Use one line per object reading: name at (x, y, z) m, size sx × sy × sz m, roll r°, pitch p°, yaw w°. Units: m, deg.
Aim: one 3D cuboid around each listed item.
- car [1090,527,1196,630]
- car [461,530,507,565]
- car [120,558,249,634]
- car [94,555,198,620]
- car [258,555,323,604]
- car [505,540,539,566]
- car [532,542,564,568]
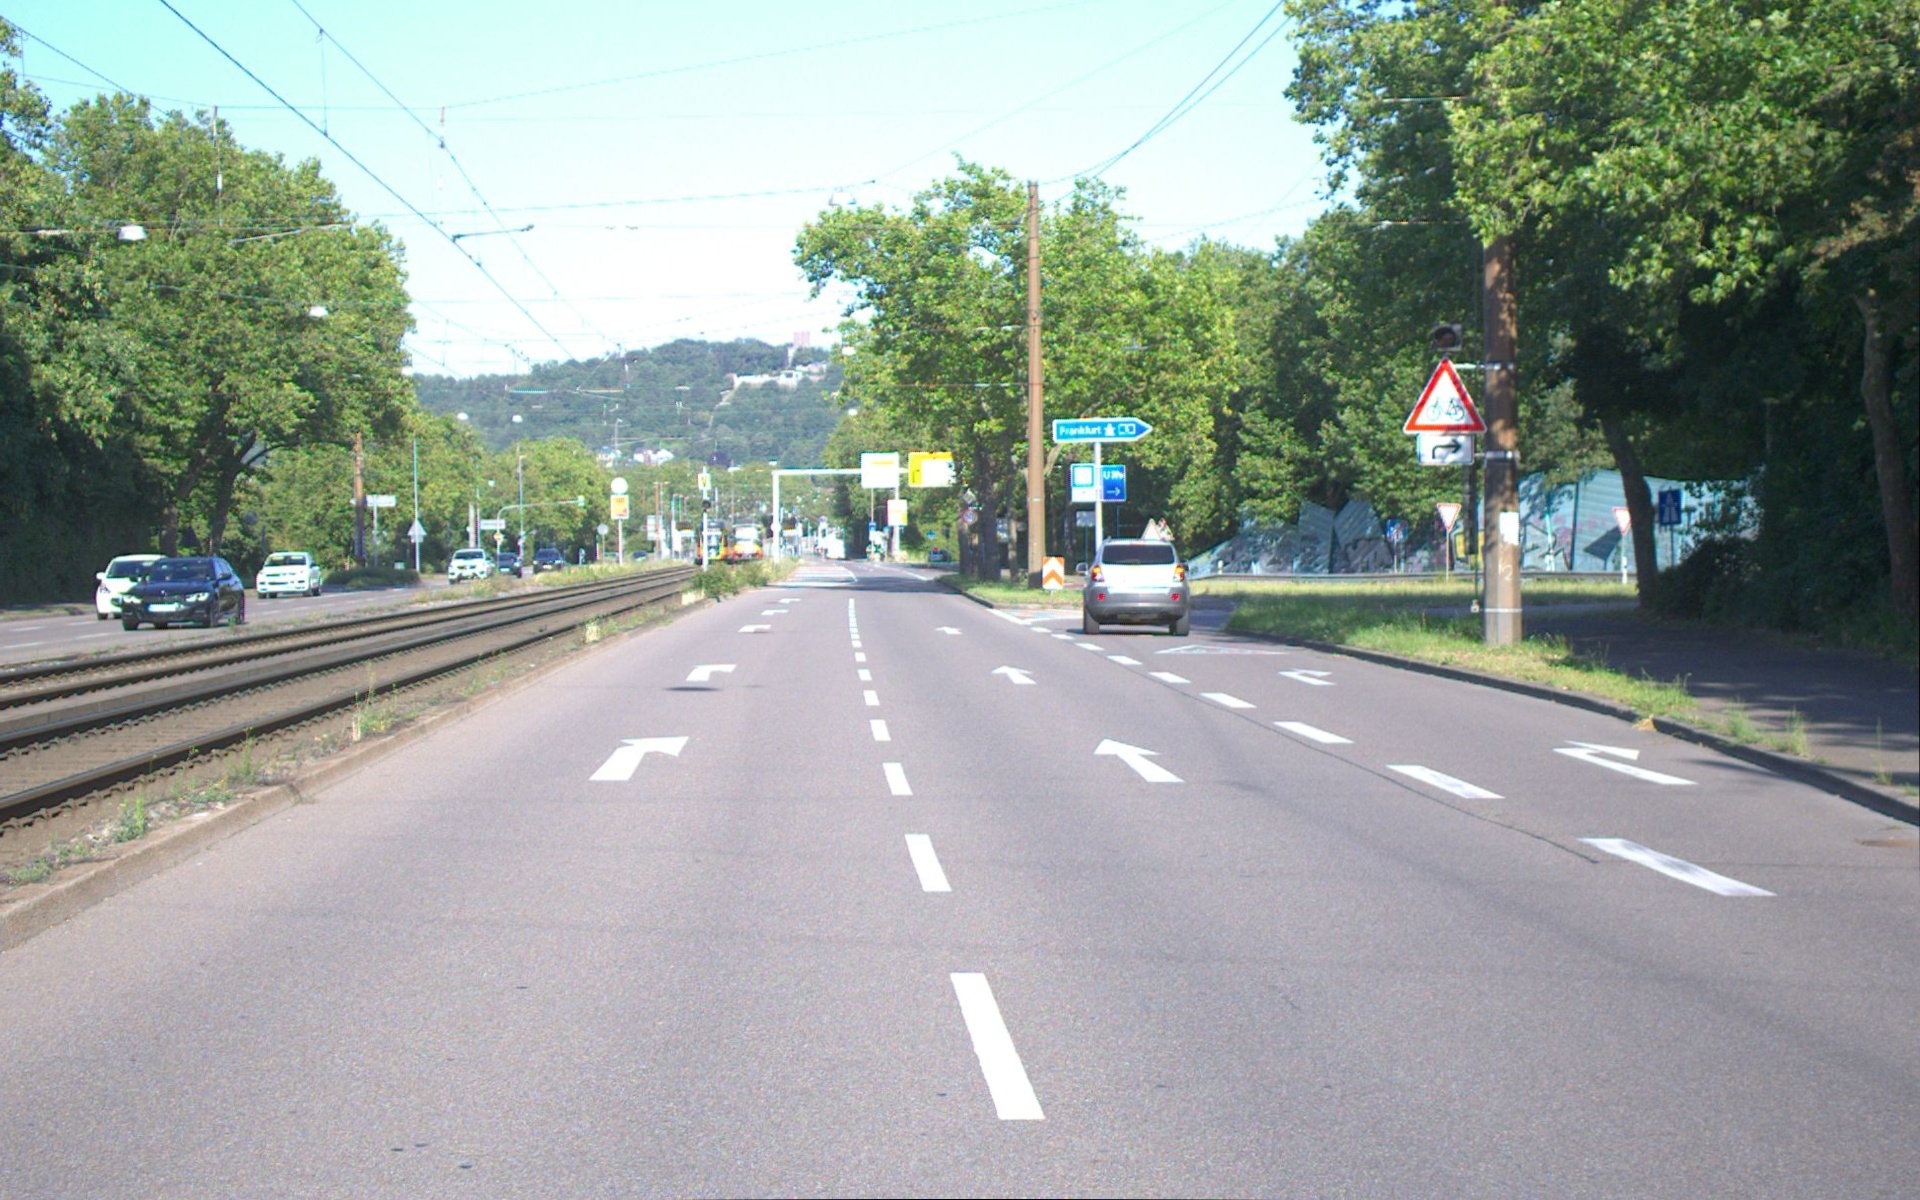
car at (3.246, -0.391, 61.542) m, size 1.809 × 1.767 × 3.862 m, roll 1°, pitch 0°, yaw 2°
car at (-24.189, -2.665, 174.782) m, size 1.962 × 1.701 × 4.945 m, roll -2°, pitch 1°, yaw -4°
car at (-15.663, -0.105, 69.595) m, size 1.657 × 1.428 × 4.502 m, roll -2°, pitch 1°, yaw -2°
car at (-20.661, -0.329, 87.416) m, size 1.691 × 1.550 × 4.191 m, roll -2°, pitch 1°, yaw -2°
car at (-25.168, -0.767, 129.413) m, size 1.846 × 1.728 × 4.933 m, roll -2°, pitch 1°, yaw -5°
car at (-26.119, -2.823, 205.039) m, size 1.710 × 1.463 × 4.348 m, roll -2°, pitch 1°, yaw -4°
car at (-28.274, -3.084, 236.171) m, size 1.898 × 1.688 × 4.942 m, roll -2°, pitch 1°, yaw -4°
